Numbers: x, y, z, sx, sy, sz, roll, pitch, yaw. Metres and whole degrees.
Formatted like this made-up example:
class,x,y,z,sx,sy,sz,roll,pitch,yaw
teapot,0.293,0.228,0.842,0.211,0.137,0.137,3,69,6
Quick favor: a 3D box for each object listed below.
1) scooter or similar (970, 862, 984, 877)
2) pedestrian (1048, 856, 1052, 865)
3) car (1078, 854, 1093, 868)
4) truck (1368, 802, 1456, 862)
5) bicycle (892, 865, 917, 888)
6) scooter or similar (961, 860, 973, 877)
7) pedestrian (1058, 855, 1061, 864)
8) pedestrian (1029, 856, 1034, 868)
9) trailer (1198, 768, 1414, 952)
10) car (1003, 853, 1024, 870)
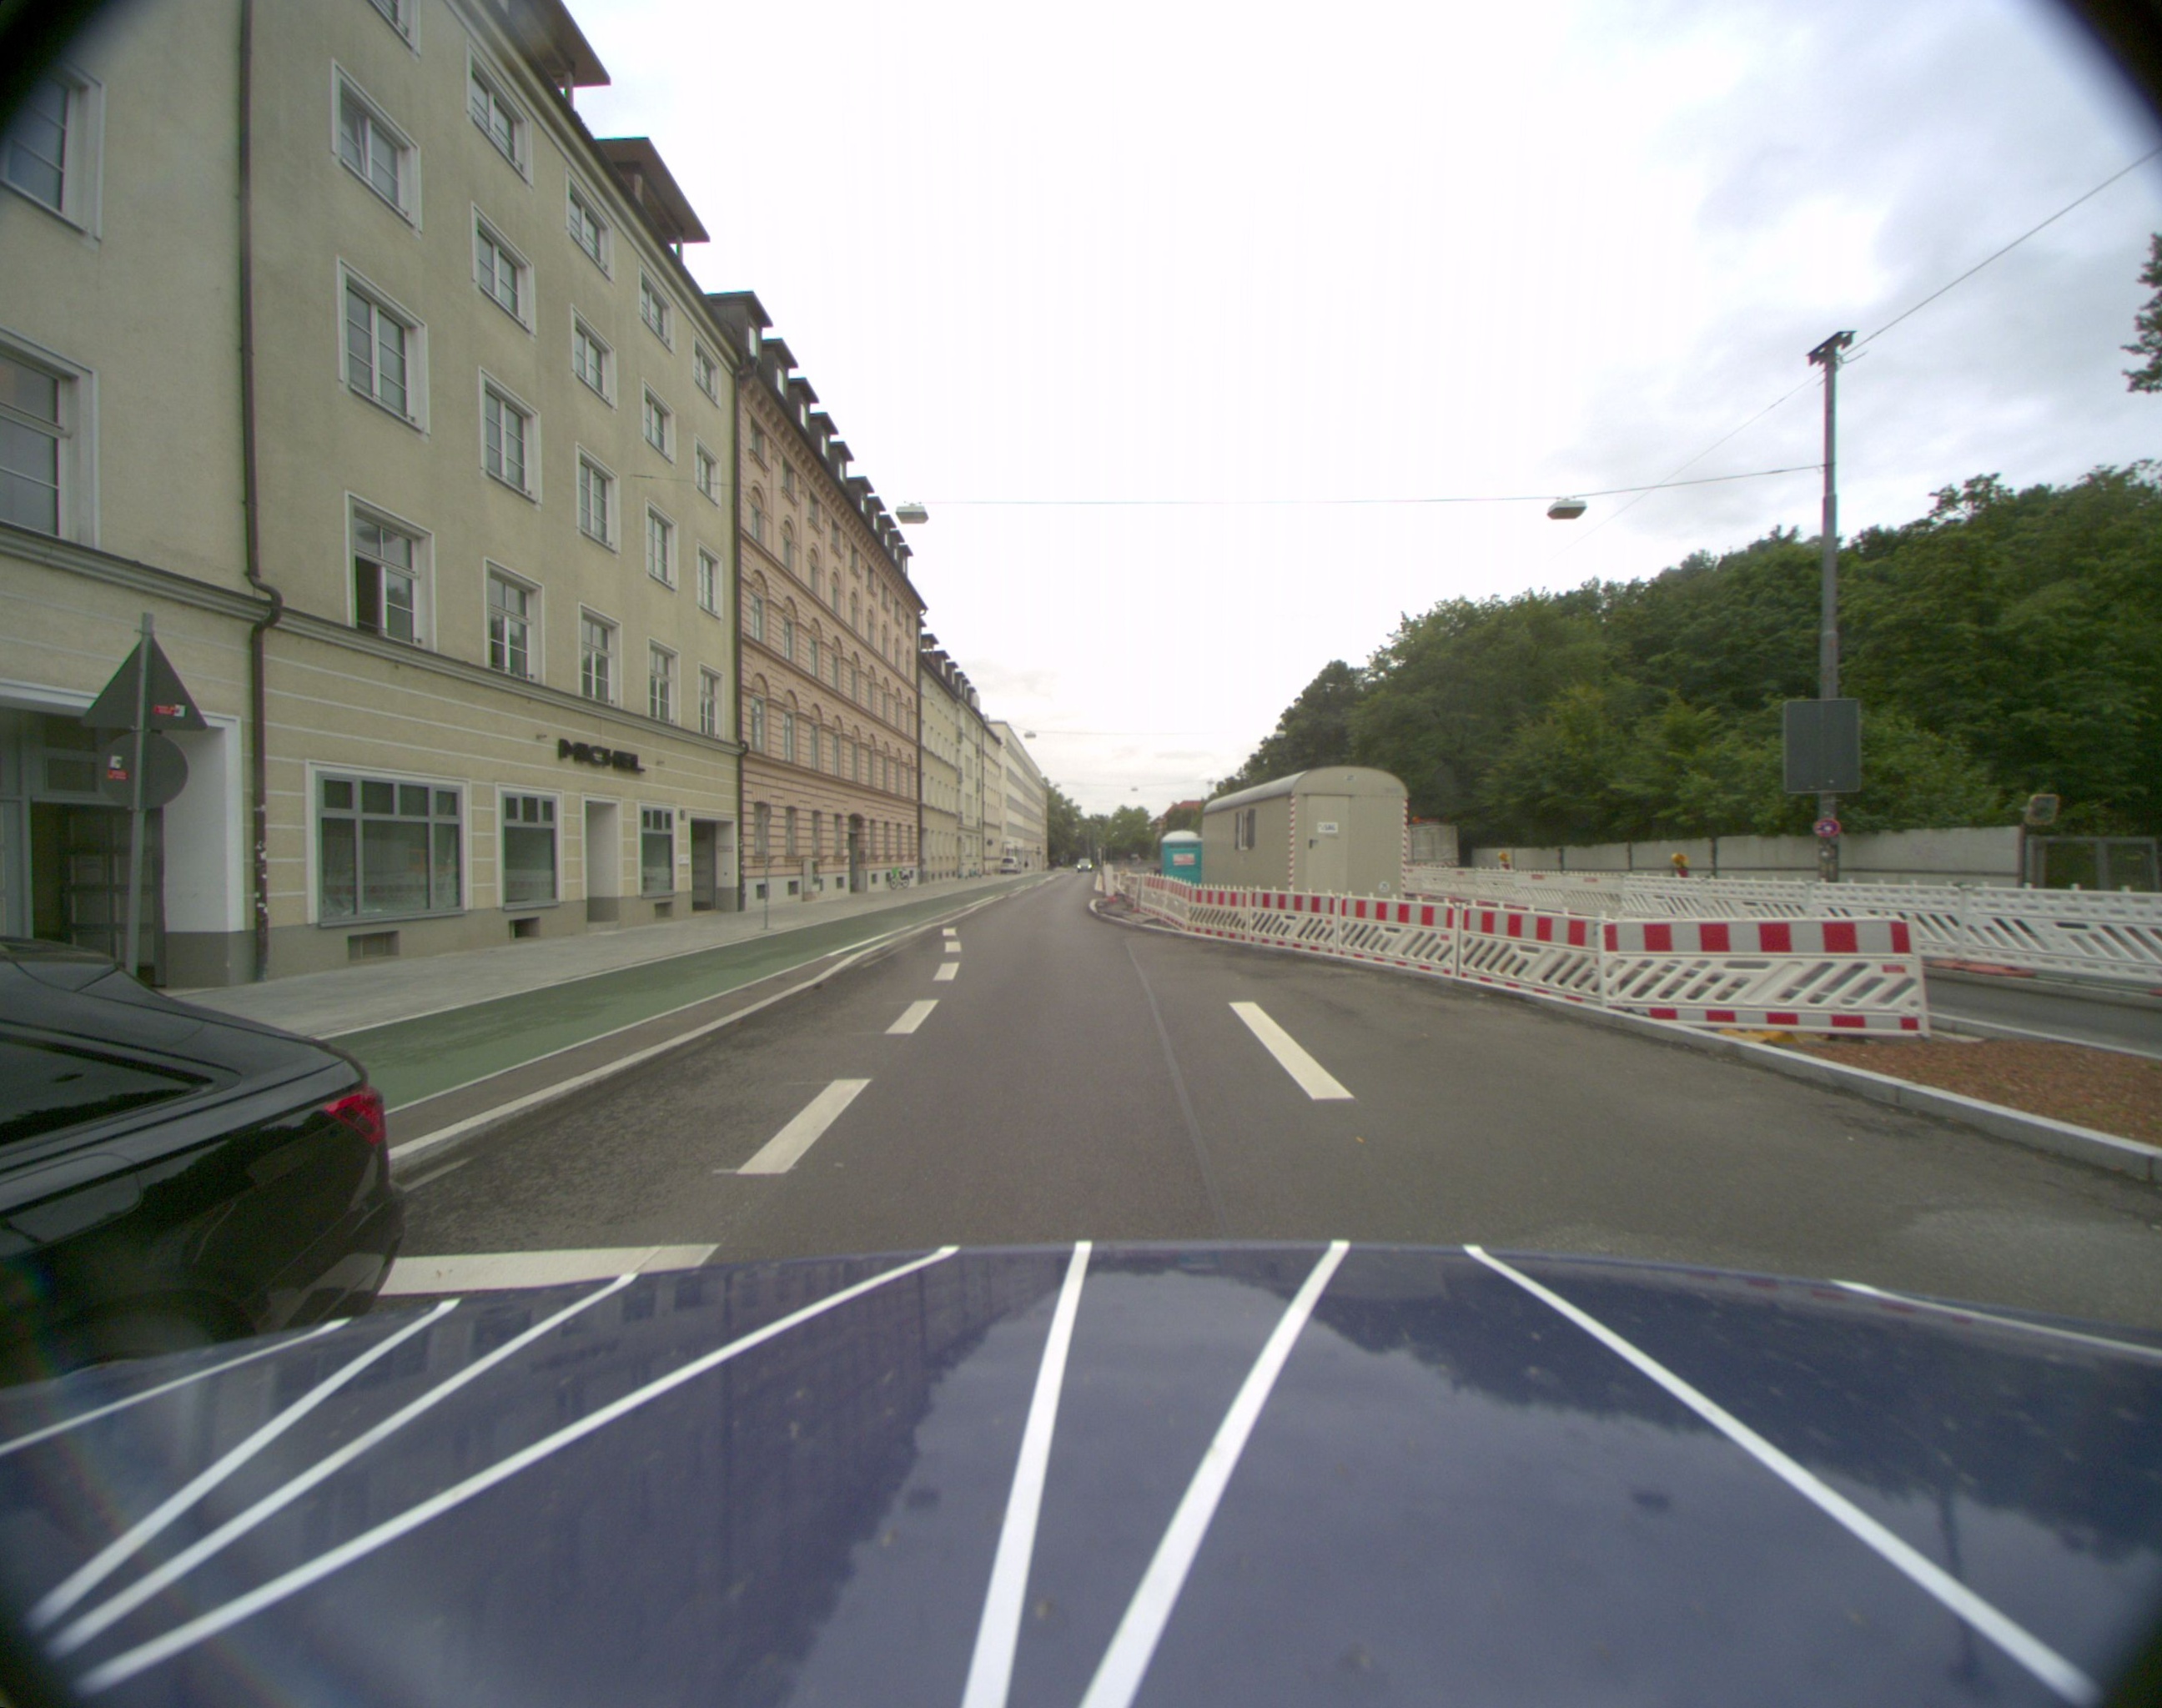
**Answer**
class,x,y,z,sx,sy,sz,roll,pitch,yaw
scooter or similar,-8.626,1.280,63.085,1.121,1.224,0.246,1,1,-32
pedestrian,-6.160,1.266,149.717,0.753,1.610,0.704,-1,1,2
car,0.624,0.937,101.086,1.998,1.738,4.000,-1,0,0
truck,16.247,-0.988,37.714,1.998,2.712,5.871,-1,0,2
bicycle,-9.225,1.170,39.709,0.426,1.167,1.734,0,0,19
scooter or similar,-8.743,1.103,58.408,0.246,1.224,1.122,2,1,27
pedestrian,-4.279,1.127,148.278,0.514,1.825,0.602,-1,1,2
pedestrian,-6.723,1.126,102.775,0.666,1.626,0.737,-1,1,1
trailer,4.540,0.104,17.101,2.233,3.224,7.516,-1,0,-3
car,-7.146,0.809,80.829,1.737,1.739,4.436,0,0,2
